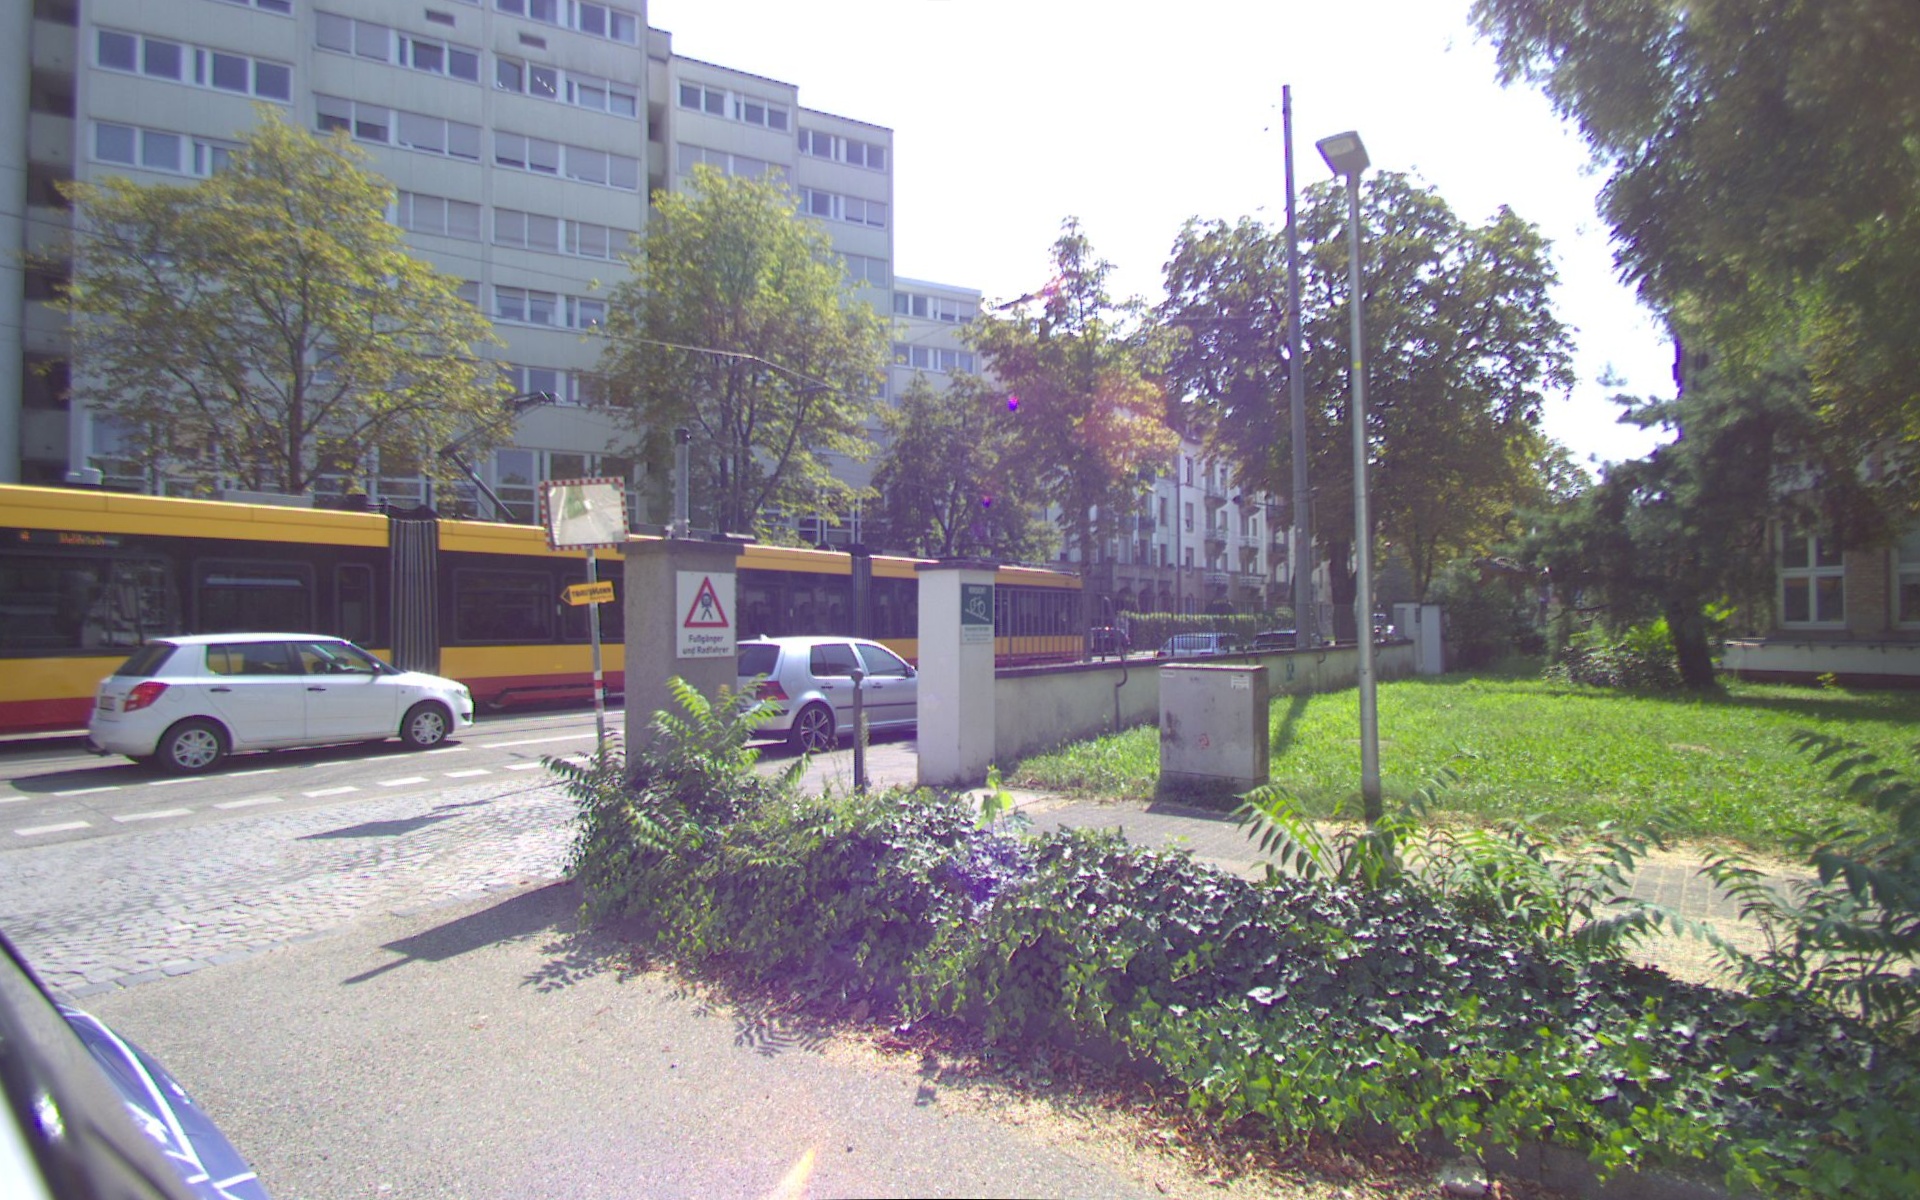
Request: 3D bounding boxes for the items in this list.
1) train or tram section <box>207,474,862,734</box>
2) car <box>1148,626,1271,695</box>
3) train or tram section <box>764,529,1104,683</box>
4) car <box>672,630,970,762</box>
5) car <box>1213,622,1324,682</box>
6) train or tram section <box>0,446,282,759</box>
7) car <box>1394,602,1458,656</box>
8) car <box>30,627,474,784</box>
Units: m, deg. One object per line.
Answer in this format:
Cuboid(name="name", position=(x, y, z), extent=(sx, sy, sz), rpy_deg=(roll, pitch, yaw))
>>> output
Cuboid(name="train or tram section", position=(-7.392, 0.132, 20.573), extent=(3.502, 3.732, 12.259), rpy_deg=(-1, -1, 36))
Cuboid(name="car", position=(6.031, 1.376, 24.184), extent=(1.643, 1.523, 3.597), rpy_deg=(-1, -2, 36))
Cuboid(name="train or tram section", position=(-0.131, 0.210, 30.512), extent=(3.502, 3.732, 12.259), rpy_deg=(-1, -1, 36))
Cuboid(name="car", position=(-1.711, 1.159, 13.370), extent=(1.795, 1.457, 3.685), rpy_deg=(-3, -3, 38))
Cuboid(name="car", position=(8.930, 1.436, 29.134), extent=(1.797, 1.589, 3.949), rpy_deg=(-2, -2, 37))
Cuboid(name="train or tram section", position=(-14.717, 0.028, 10.575), extent=(3.502, 3.732, 12.259), rpy_deg=(-1, -1, 36))
Cuboid(name="car", position=(21.701, 1.342, 47.068), extent=(1.996, 2.383, 3.951), rpy_deg=(-1, -2, 36))
Cuboid(name="car", position=(-8.201, 1.094, 12.065), extent=(1.821, 1.503, 3.970), rpy_deg=(-1, -2, 36))
